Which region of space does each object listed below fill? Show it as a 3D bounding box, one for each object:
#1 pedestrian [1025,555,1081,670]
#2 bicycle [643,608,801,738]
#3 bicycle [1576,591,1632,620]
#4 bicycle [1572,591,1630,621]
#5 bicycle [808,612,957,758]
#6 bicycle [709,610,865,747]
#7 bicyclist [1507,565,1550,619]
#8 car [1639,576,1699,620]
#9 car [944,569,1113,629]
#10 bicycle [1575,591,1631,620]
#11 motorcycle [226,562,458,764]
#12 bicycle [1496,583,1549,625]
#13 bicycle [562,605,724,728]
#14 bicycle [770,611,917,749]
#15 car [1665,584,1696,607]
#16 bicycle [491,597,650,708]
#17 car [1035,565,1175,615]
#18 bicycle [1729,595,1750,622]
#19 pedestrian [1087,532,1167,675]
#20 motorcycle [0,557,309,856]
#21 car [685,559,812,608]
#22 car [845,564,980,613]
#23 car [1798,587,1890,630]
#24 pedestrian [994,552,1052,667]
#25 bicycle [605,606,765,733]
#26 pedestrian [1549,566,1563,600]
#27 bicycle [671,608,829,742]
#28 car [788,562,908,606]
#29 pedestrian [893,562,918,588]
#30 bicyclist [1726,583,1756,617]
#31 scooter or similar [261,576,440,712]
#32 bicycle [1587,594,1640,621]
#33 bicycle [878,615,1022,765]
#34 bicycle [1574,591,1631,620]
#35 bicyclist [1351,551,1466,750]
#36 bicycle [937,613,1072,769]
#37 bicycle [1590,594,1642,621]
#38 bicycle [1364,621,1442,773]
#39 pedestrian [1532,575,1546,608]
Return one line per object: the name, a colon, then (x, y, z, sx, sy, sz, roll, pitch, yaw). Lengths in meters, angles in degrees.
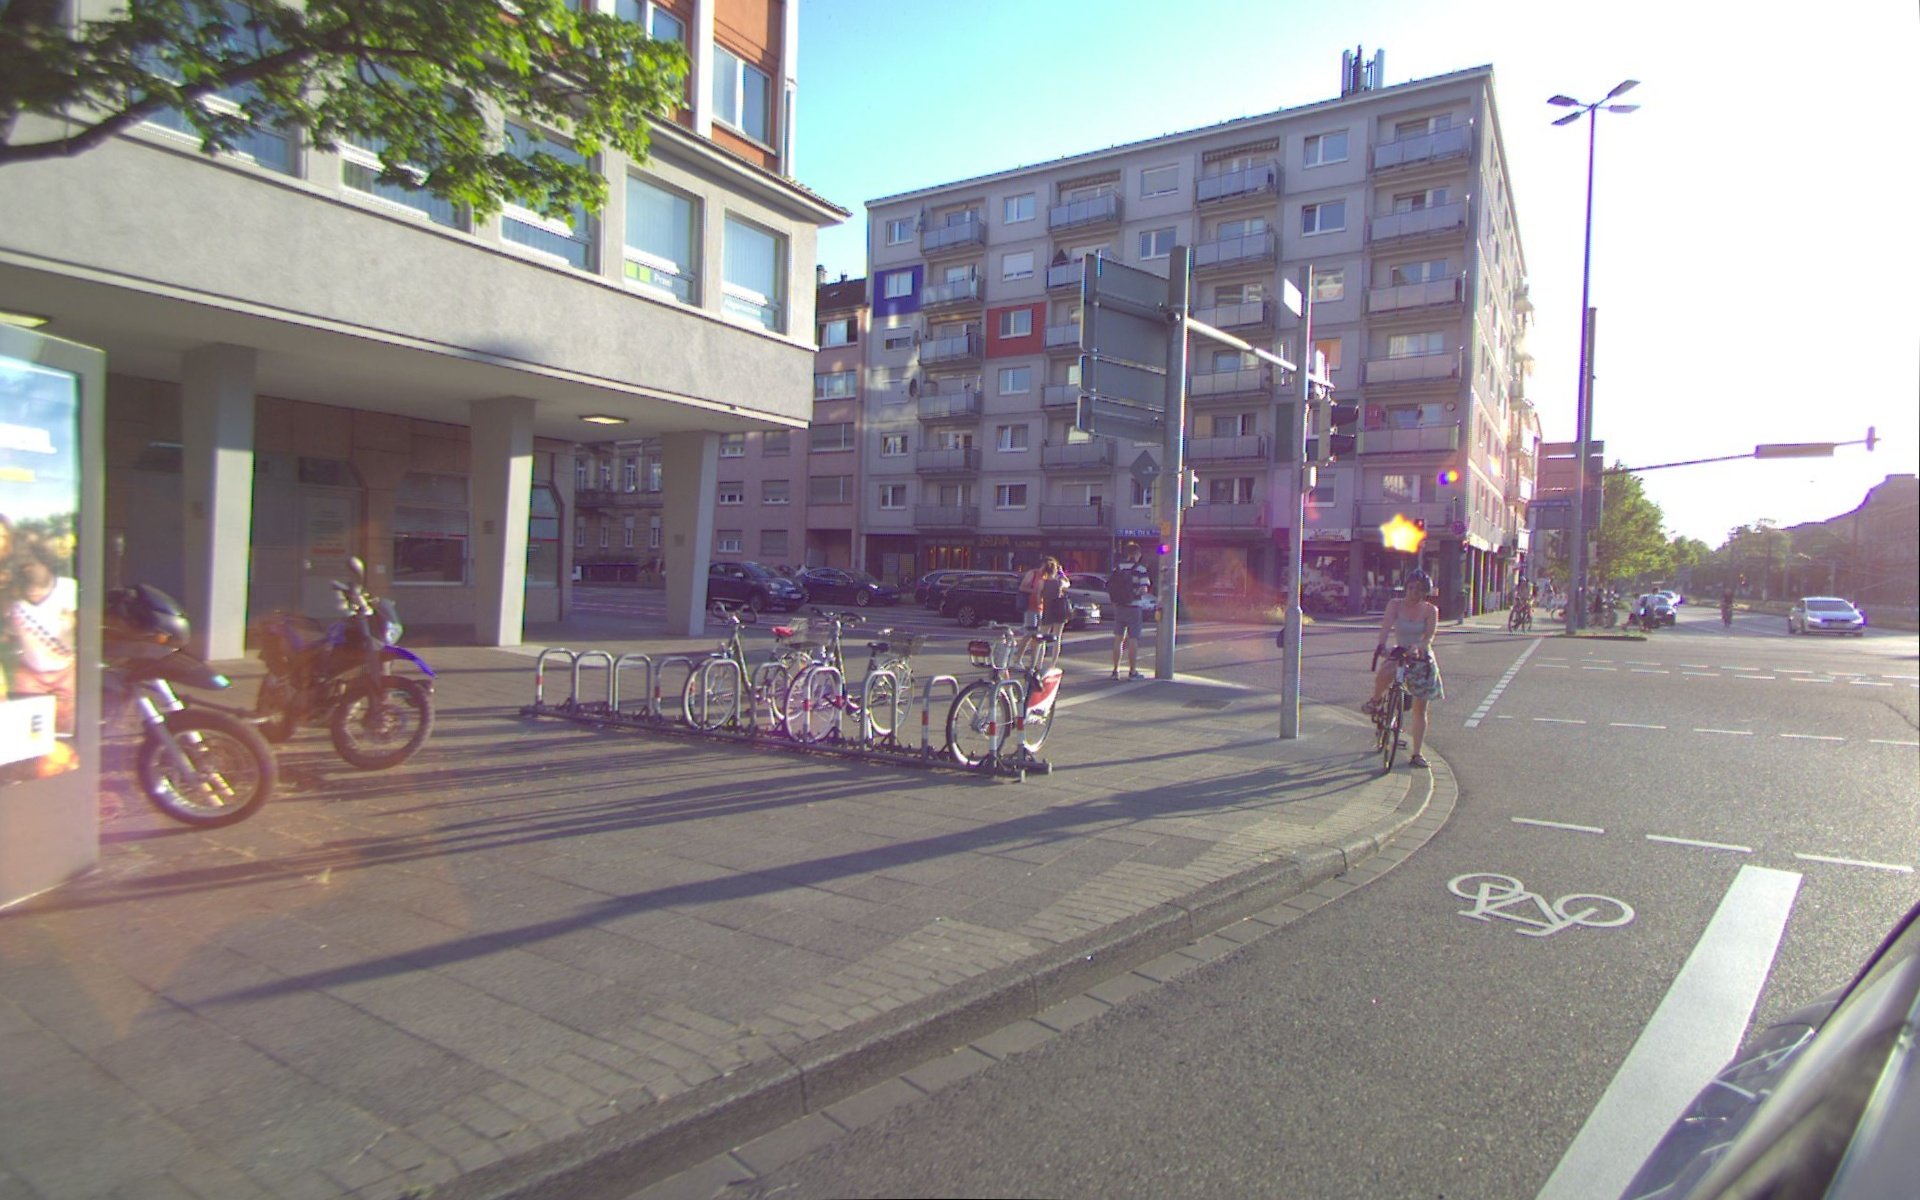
pedestrian: (1.409, 0.171, 15.231, 0.515, 1.664, 0.698, 3, 2, 36)
bicycle: (-2.119, 0.615, 9.254, 0.361, 1.040, 1.778, 1, 1, 25)
bicycle: (27.079, 0.229, 42.548, 1.946, 1.134, 0.452, 2, 1, 36)
bicycle: (25.840, 0.236, 40.808, 1.946, 1.134, 0.452, 2, 1, 36)
bicycle: (-0.589, 0.644, 8.376, 0.357, 1.040, 1.778, 1, 1, 26)
bicycle: (-1.448, 0.624, 8.804, 0.357, 1.040, 1.778, 1, 1, 26)
bicyclist: (16.861, -0.234, 30.026, 0.719, 1.587, 0.824, 1, 0, -30)
car: (35.237, -0.114, 50.391, 1.982, 2.039, 3.960, 1, 1, 29)
car: (1.810, -0.090, 27.072, 4.159, 1.443, 1.910, 1, 3, 33)
bicycle: (26.755, 0.224, 42.119, 1.946, 1.134, 0.452, 2, 1, 36)
motorcycle: (-4.762, 0.405, 7.745, 2.132, 1.371, 0.635, 1, 1, 33)
bicycle: (16.629, 0.111, 29.887, 1.933, 1.197, 0.491, 1, 1, -33)
bicycle: (-2.981, 0.588, 9.706, 0.361, 1.040, 1.778, 1, 1, 25)
bicycle: (-0.957, 0.633, 8.774, 0.365, 1.040, 1.778, 1, 1, 25)
car: (59.381, -0.409, 83.479, 1.987, 1.771, 3.950, 2, 1, 35)
bicycle: (-4.011, 0.501, 10.559, 0.361, 1.040, 1.778, 1, 1, 25)
car: (4.538, -0.346, 31.998, 3.992, 1.487, 1.893, 2, 1, 39)
bicycle: (36.385, 0.370, 47.229, 0.571, 1.215, 2.180, 1, 1, 33)
pedestrian: (2.383, 0.042, 14.487, 0.830, 1.981, 0.704, 1, 2, -25)
motorcycle: (-4.501, 0.476, 4.911, 0.641, 1.361, 2.167, 1, 1, 44)
car: (-6.886, -0.560, 32.801, 3.895, 1.469, 1.783, 2, 1, 32)
car: (-1.593, -0.420, 33.143, 4.222, 1.486, 1.972, 2, 2, 39)
car: (33.887, 0.302, 38.919, 1.940, 1.512, 3.916, 1, 1, 30)
pedestrian: (0.971, 0.130, 15.565, 0.515, 1.714, 0.762, 3, 2, 36)
bicycle: (-2.516, 0.594, 9.471, 0.361, 1.040, 1.778, 1, 1, 25)
pedestrian: (36.974, -1.047, 62.746, 0.651, 2.038, 0.742, 3, 1, 34)
bicycle: (-1.816, 0.610, 9.030, 0.357, 1.040, 1.778, 1, 1, 26)
car: (-4.249, -0.626, 38.085, 4.508, 1.514, 1.685, 2, 1, 34)
pedestrian: (-2.841, -1.296, 52.553, 0.887, 1.313, 1.048, 1, 1, -31)
bicyclist: (36.352, 0.001, 47.129, 0.988, 1.557, 0.913, 1, 1, 31)
scooter or similar: (-6.053, 0.414, 10.092, 1.497, 1.279, 0.309, 1, 0, -34)
bicycle: (28.951, 0.317, 44.832, 1.946, 1.134, 0.452, 2, 1, 36)
bicycle: (-0.029, 0.660, 8.163, 0.357, 1.040, 1.777, 1, 1, 27)
bicycle: (26.457, 0.231, 41.685, 1.946, 1.134, 0.452, 2, 1, 36)
bicyclist: (3.621, 0.368, 8.178, 0.790, 1.499, 0.799, 1, 0, 26)
bicycle: (0.395, 0.641, 7.887, 0.357, 1.040, 1.778, 1, 1, 26)
bicycle: (29.579, 0.331, 45.658, 1.946, 1.134, 0.452, 2, 1, 36)
bicycle: (3.643, 0.723, 8.258, 0.510, 1.040, 1.778, 1, 1, 25)
pedestrian: (36.158, -0.538, 63.185, 0.713, 2.039, 0.639, 2, 1, 34)
